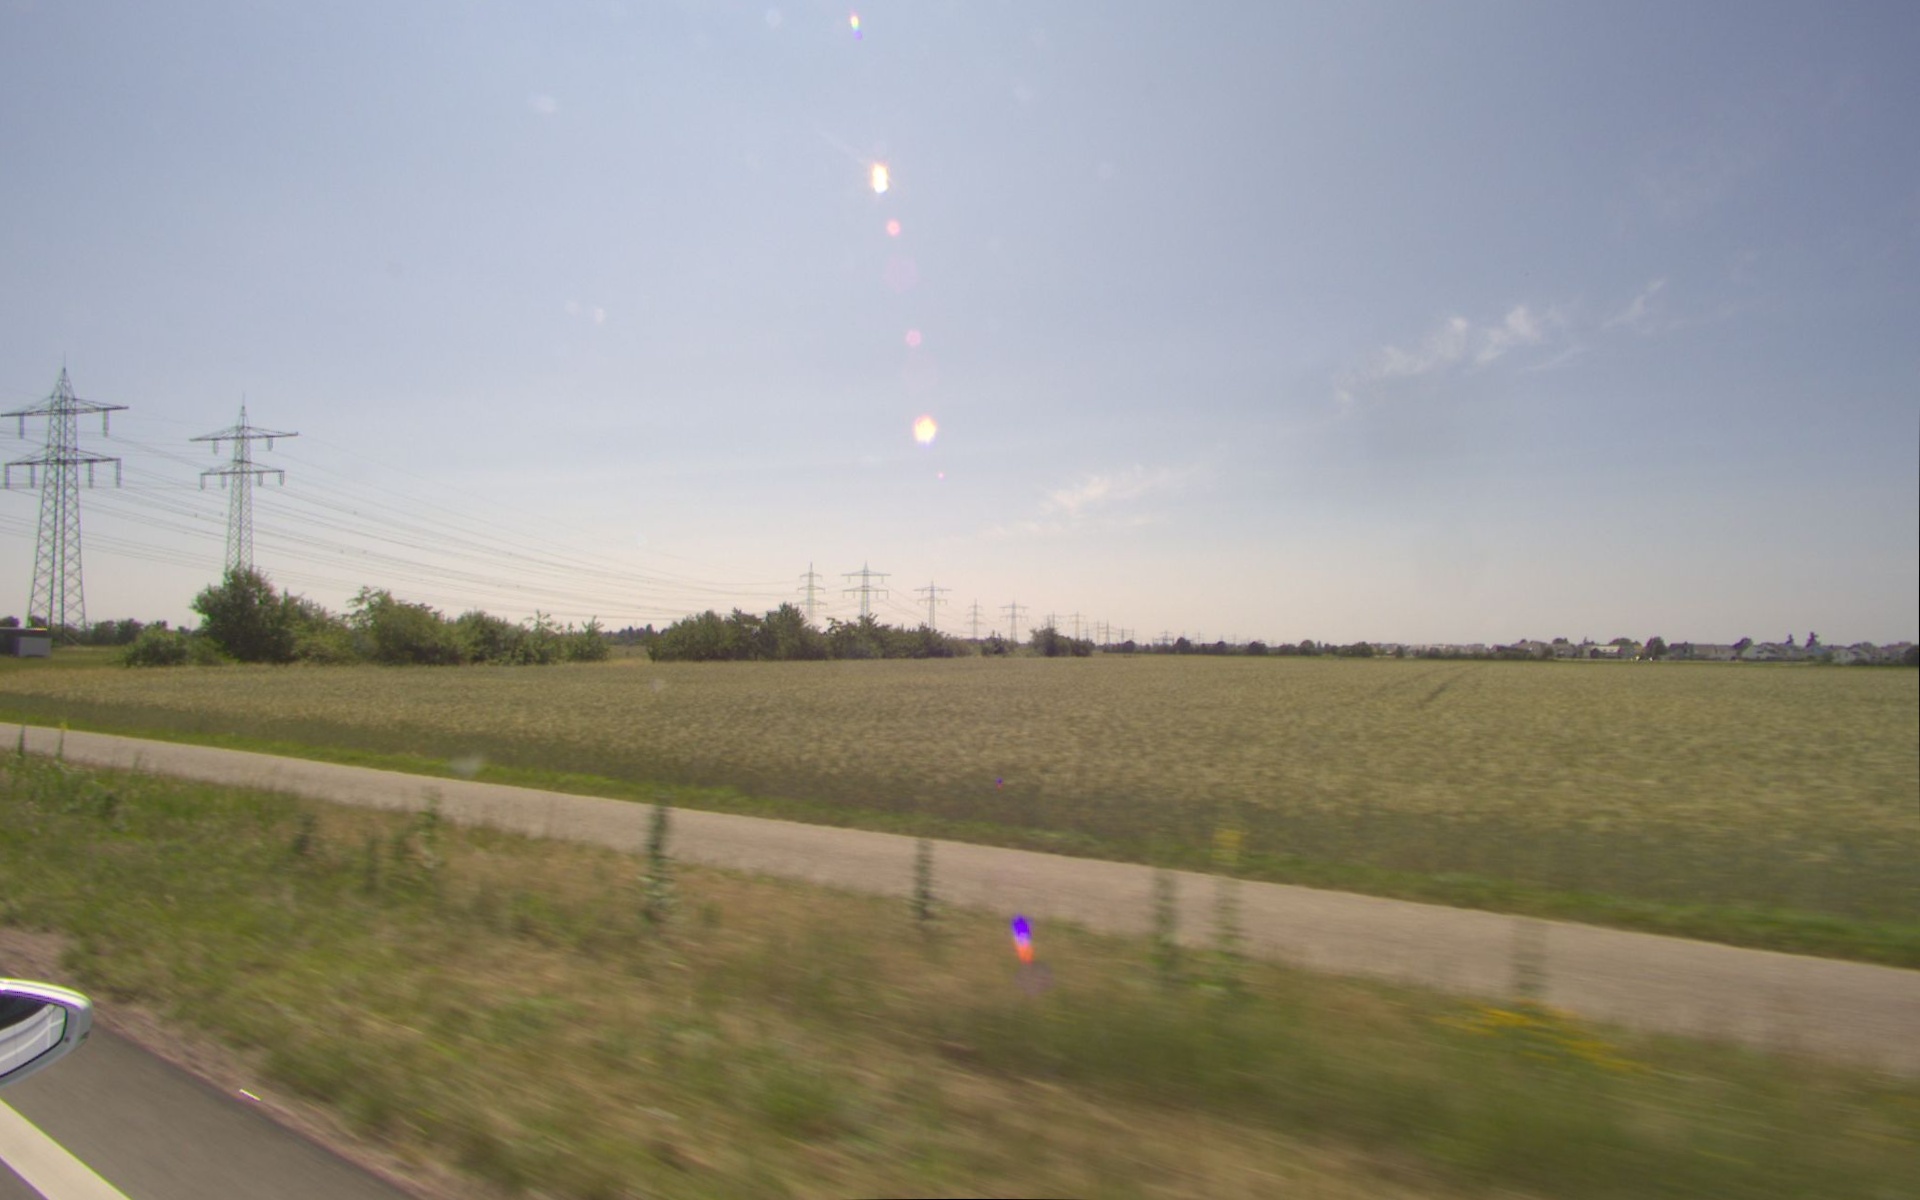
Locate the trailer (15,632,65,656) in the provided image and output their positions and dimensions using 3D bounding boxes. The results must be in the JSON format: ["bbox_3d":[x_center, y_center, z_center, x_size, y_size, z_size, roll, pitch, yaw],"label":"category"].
[{"bbox_3d":[-98.268,4.712,107.004,2.007,2.493,3.405,0,-2,29],"label":"trailer"}]

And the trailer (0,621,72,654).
[{"bbox_3d":[-102.475,3.935,105.160,3.227,3.518,13.502,0,-3,29],"label":"trailer"}]
